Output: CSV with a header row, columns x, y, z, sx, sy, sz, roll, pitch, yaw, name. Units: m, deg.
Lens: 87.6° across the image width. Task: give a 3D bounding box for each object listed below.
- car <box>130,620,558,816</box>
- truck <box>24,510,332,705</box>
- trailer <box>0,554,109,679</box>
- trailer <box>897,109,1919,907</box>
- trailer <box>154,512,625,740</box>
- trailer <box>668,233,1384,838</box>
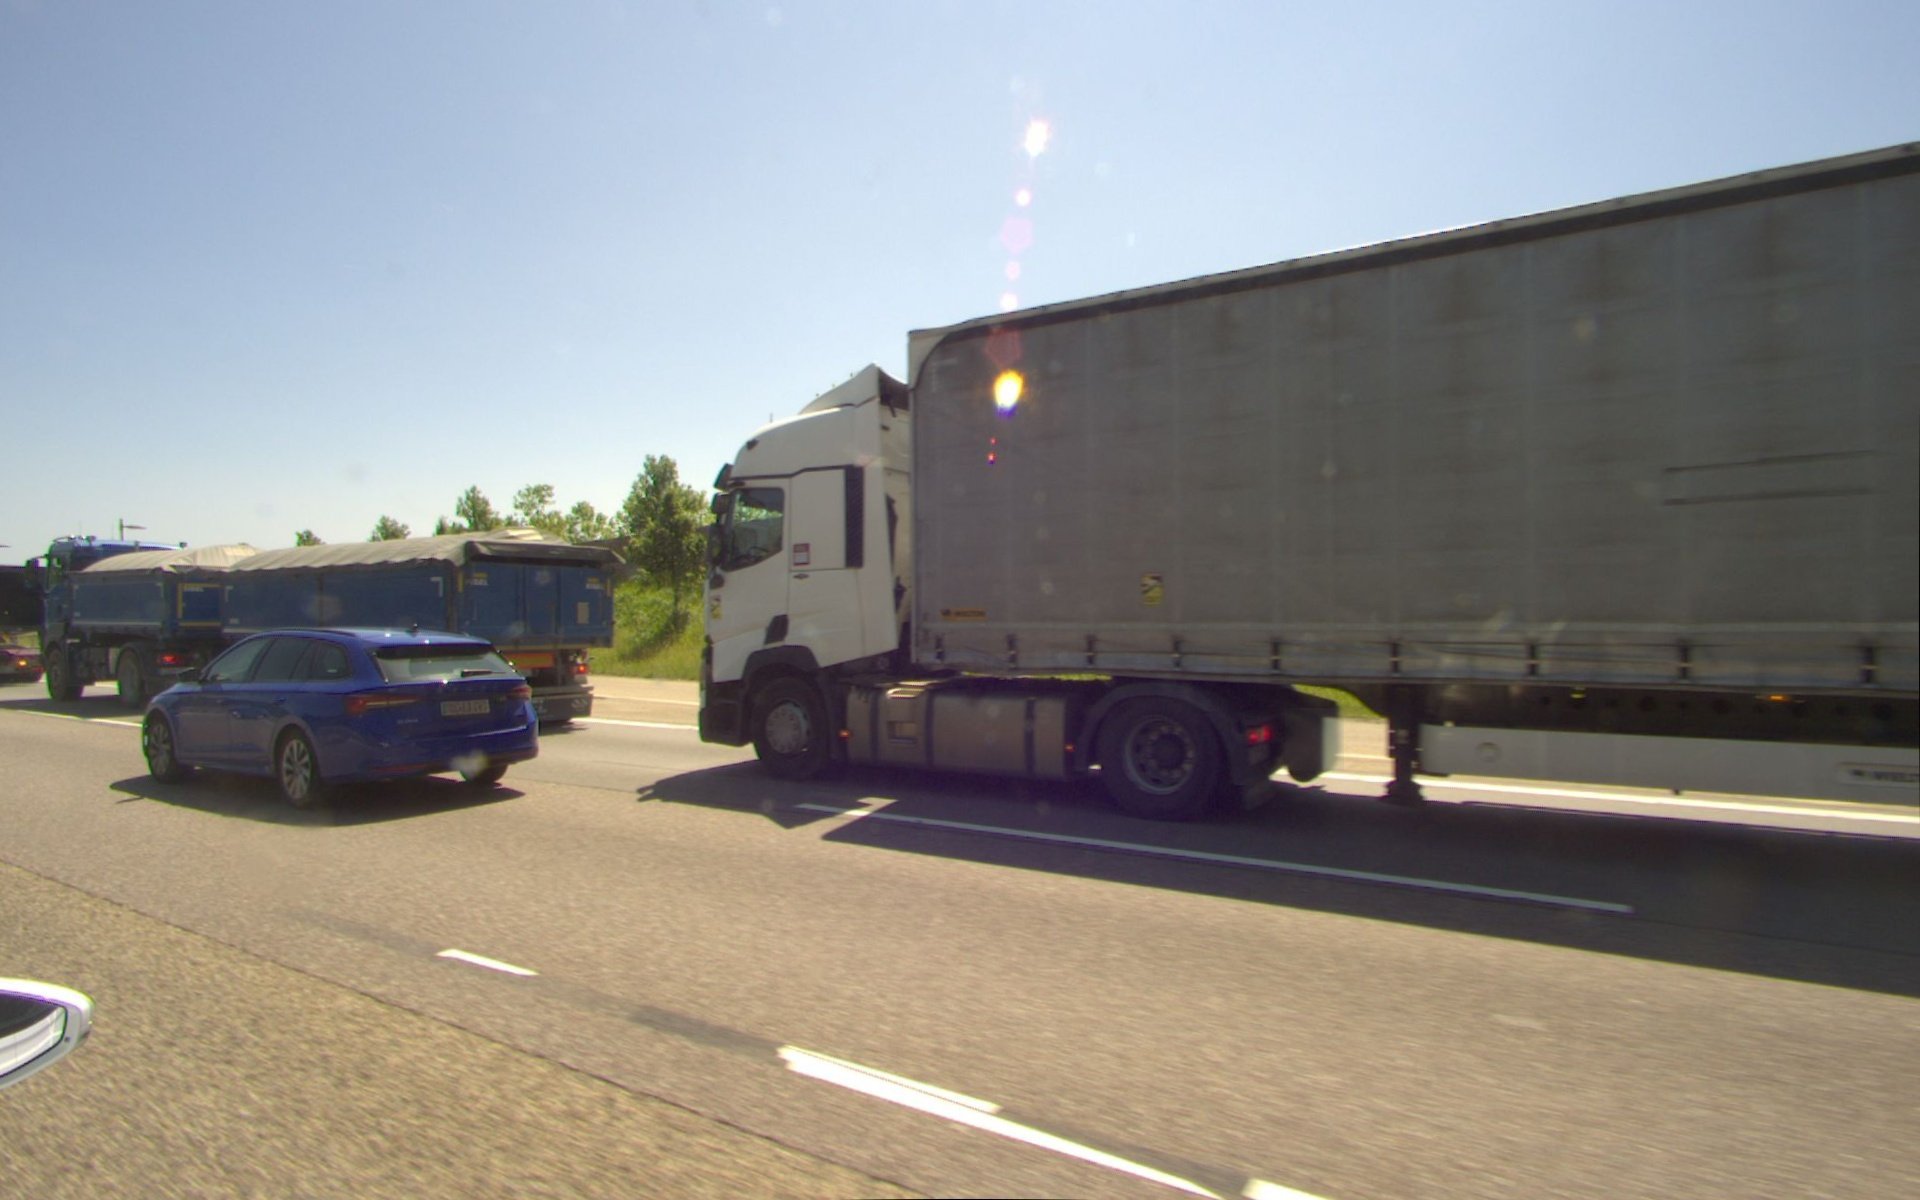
x,y,z,sx,sy,sz,roll,pitch,yaw,name
-5.861,0.960,9.372,4.365,1.459,1.703,-2,-2,33,car
-15.948,0.230,20.291,7.031,3.354,2.739,-1,-2,33,truck
-30.242,0.644,29.713,15.558,3.117,3.638,-2,-2,34,trailer
5.969,-0.442,6.233,13.554,4.101,2.957,-1,-1,32,trailer
-9.507,0.369,16.172,8.985,2.873,2.739,0,-1,33,trailer
0.488,-0.372,9.706,6.318,4.096,2.920,0,-1,32,trailer
